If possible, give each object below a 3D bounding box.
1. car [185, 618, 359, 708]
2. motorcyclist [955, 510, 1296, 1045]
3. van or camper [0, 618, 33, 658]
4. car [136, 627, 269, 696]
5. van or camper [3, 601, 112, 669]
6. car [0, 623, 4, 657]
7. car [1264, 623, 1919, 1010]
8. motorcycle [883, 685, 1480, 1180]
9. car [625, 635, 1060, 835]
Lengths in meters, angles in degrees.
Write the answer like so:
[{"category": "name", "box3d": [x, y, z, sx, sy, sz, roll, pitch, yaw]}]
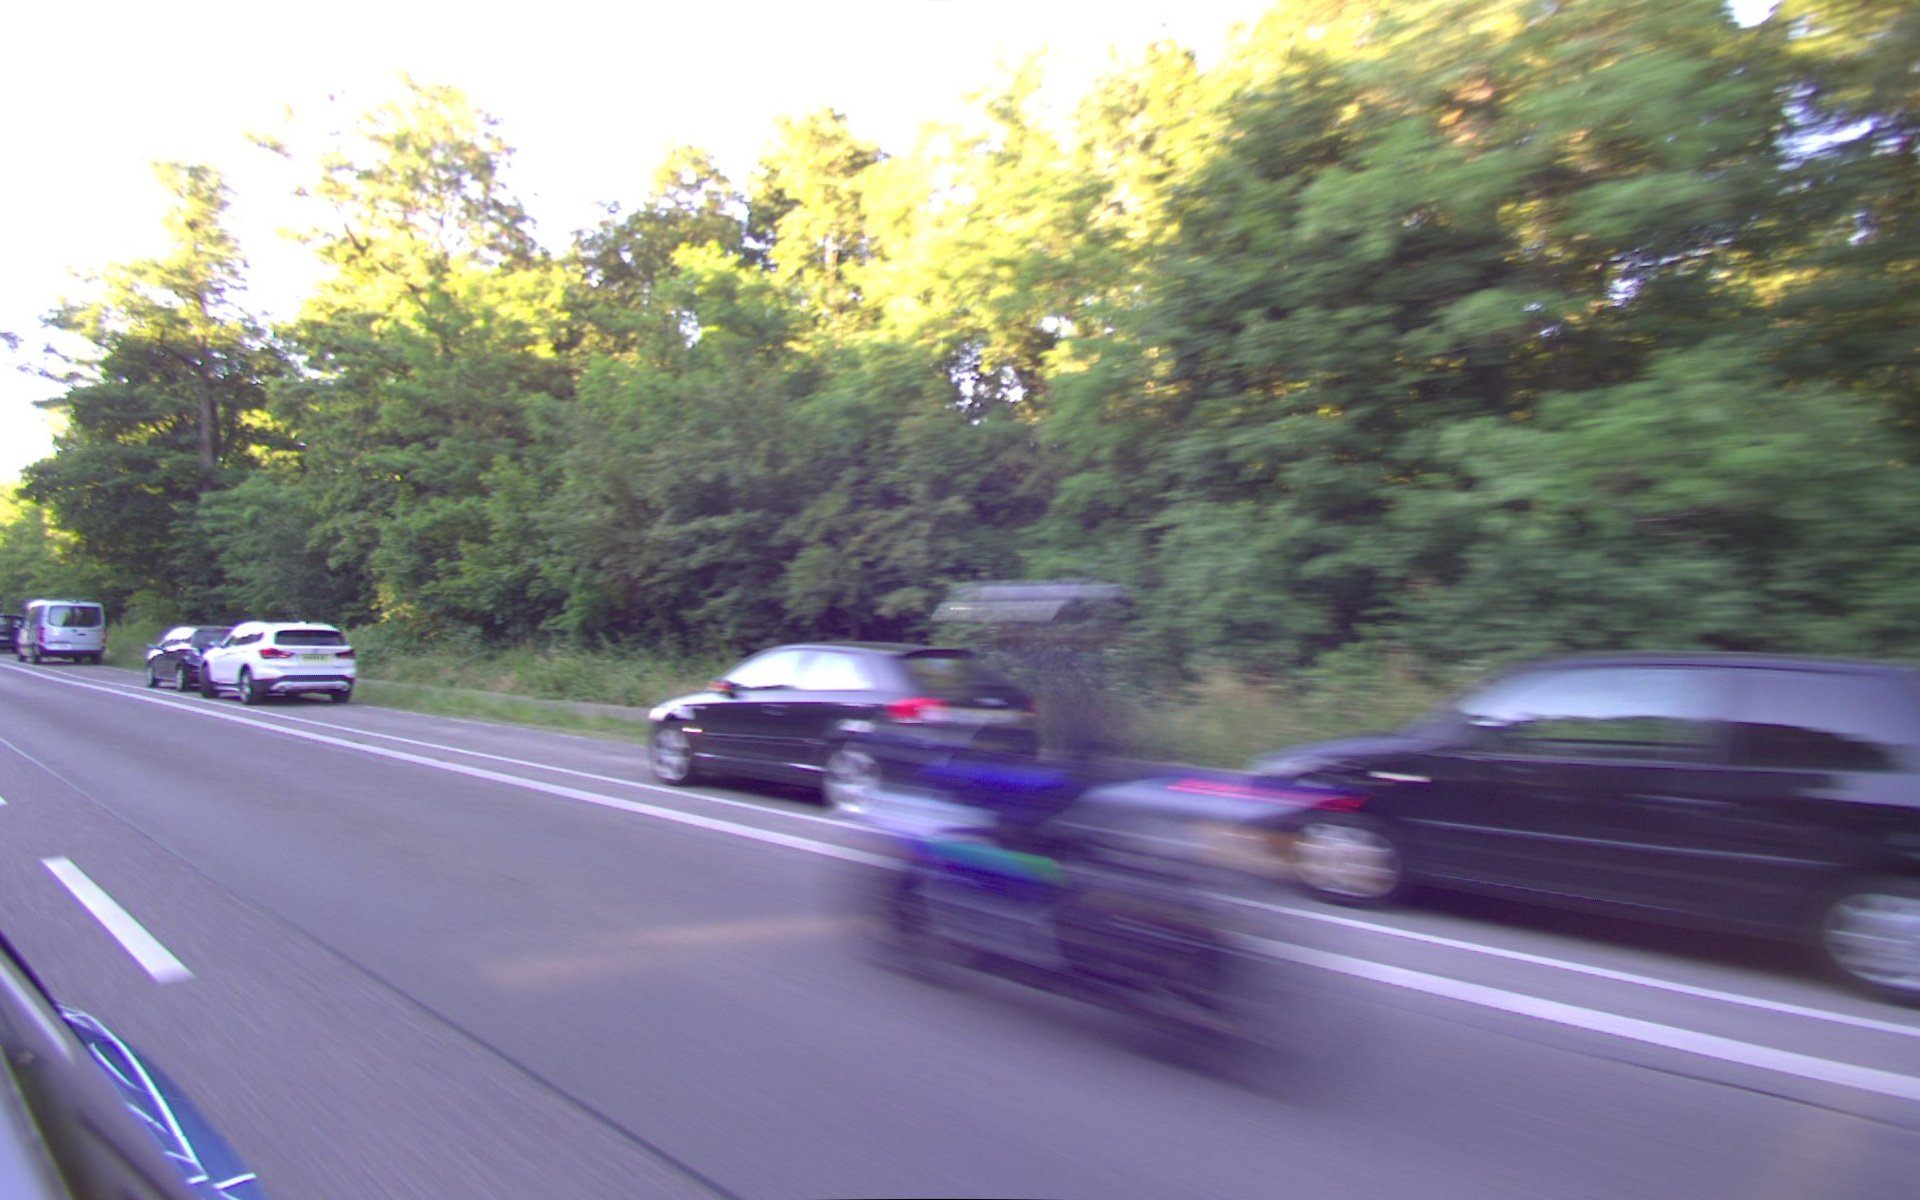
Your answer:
[{"category": "car", "box3d": [-14.151, 1.231, 20.715, 4.568, 1.658, 1.678, -1, -3, 39]}, {"category": "motorcyclist", "box3d": [0.546, 0.522, 3.488, 0.995, 1.541, 0.597, -2, -2, 43]}, {"category": "van or camper", "box3d": [-49.492, 1.943, 51.971, 4.687, 1.971, 2.009, -1, -5, 39]}, {"category": "car", "box3d": [-18.193, 1.436, 24.260, 3.732, 1.532, 1.655, -1, -3, 39]}, {"category": "van or camper", "box3d": [-34.926, 1.378, 39.092, 6.376, 2.409, 2.089, -1, -5, 40]}, {"category": "car", "box3d": [-54.252, 2.176, 55.846, 3.755, 1.841, 1.587, -1, -5, 39]}, {"category": "car", "box3d": [3.662, 0.909, 5.238, 3.654, 1.520, 1.694, -1, -4, 41]}, {"category": "motorcycle", "box3d": [0.615, 0.910, 3.453, 1.962, 1.135, 0.604, -2, -2, 44]}, {"category": "car", "box3d": [-1.209, 1.031, 9.152, 4.049, 1.405, 1.581, -1, -3, 41]}]
